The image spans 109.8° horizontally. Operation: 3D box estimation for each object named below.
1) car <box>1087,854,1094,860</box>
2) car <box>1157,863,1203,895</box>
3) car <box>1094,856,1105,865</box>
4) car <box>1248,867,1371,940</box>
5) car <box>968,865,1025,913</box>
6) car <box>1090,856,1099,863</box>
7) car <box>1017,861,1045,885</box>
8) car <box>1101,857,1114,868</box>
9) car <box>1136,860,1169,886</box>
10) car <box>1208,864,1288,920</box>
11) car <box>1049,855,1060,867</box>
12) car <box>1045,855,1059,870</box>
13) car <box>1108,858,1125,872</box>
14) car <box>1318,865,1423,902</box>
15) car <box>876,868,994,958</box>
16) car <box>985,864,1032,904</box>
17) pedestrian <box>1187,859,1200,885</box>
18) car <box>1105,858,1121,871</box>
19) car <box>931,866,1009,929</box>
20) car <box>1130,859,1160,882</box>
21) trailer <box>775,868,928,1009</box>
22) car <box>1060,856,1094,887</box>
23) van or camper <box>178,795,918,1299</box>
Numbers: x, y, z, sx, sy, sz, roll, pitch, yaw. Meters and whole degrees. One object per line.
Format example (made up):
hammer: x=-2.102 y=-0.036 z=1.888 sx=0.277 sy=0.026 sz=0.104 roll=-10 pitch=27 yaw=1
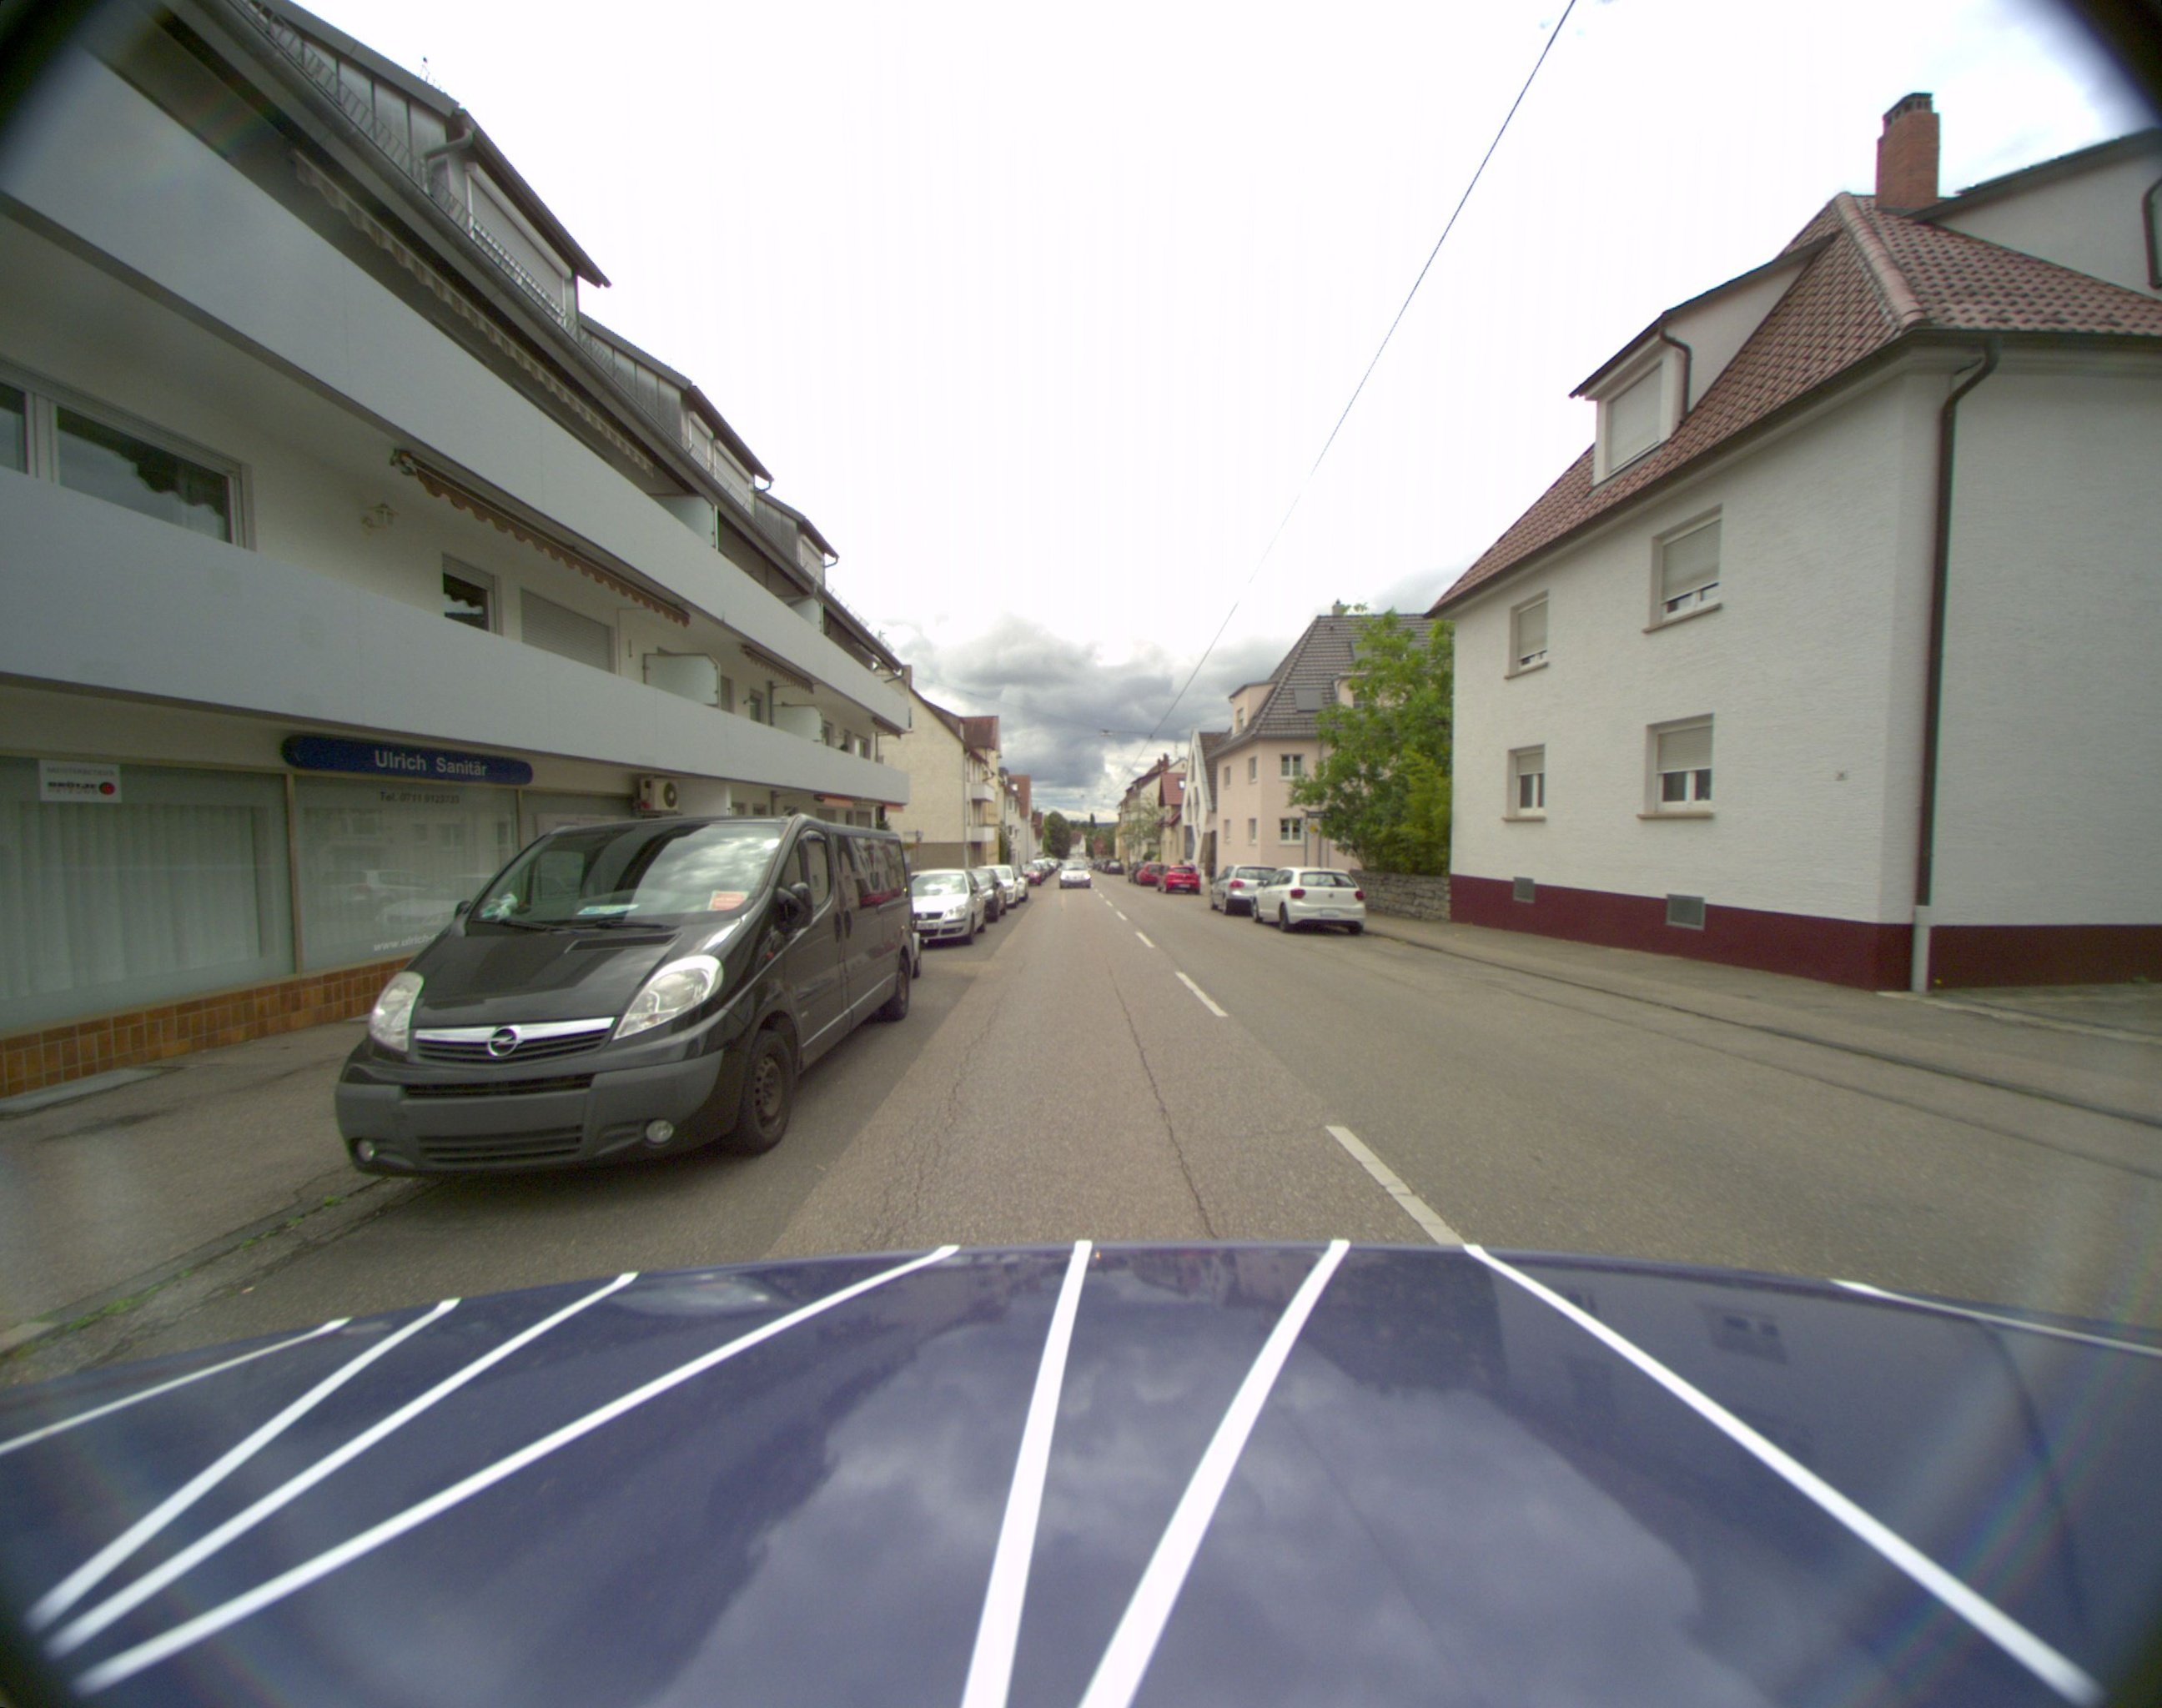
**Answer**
car: x=2.796 y=0.743 z=226.081 sx=1.705 sy=1.706 sz=3.737 roll=2 pitch=0 yaw=5
car: x=4.950 y=1.218 z=38.418 sx=1.706 sy=1.402 sz=3.735 roll=2 pitch=0 yaw=-1
car: x=3.313 y=1.164 z=133.551 sx=1.706 sy=1.524 sz=3.735 roll=2 pitch=0 yaw=-1
car: x=5.171 y=1.065 z=17.687 sx=1.654 sy=1.438 sz=3.811 roll=1 pitch=0 yaw=-1
car: x=-2.896 y=1.155 z=26.510 sx=1.613 sy=1.446 sz=3.313 roll=-2 pitch=0 yaw=-1
car: x=2.902 y=1.253 z=166.834 sx=1.706 sy=1.524 sz=3.735 roll=2 pitch=0 yaw=-1
car: x=-3.239 y=1.209 z=50.129 sx=1.613 sy=1.446 sz=3.859 roll=-2 pitch=0 yaw=-1
car: x=3.894 y=1.206 z=112.507 sx=1.706 sy=1.524 sz=3.735 roll=2 pitch=0 yaw=-1
car: x=4.643 y=1.206 z=49.781 sx=1.706 sy=1.524 sz=3.735 roll=2 pitch=0 yaw=-1
car: x=4.880 y=1.064 z=22.689 sx=1.653 sy=1.438 sz=3.774 roll=1 pitch=0 yaw=2
car: x=-4.073 y=1.025 z=117.677 sx=1.613 sy=1.789 sz=3.859 roll=-2 pitch=0 yaw=-1
car: x=-3.633 y=1.059 z=96.162 sx=1.613 sy=1.789 sz=3.859 roll=-2 pitch=0 yaw=-1
car: x=4.065 y=1.252 z=86.969 sx=1.706 sy=1.524 sz=3.735 roll=2 pitch=0 yaw=-1
car: x=12.032 y=1.212 z=31.749 sx=3.732 sy=1.402 sz=1.708 roll=-1 pitch=0 yaw=4
car: x=-2.876 y=1.104 z=15.844 sx=1.613 sy=1.446 sz=4.333 roll=-2 pitch=0 yaw=-1
car: x=-2.859 y=1.157 z=30.664 sx=1.585 sy=1.397 sz=3.597 roll=-2 pitch=0 yaw=-1
pedestrian: x=6.738 y=1.081 z=45.545 sx=0.583 sy=1.524 sz=0.600 roll=-2 pitch=1 yaw=-1
car: x=3.893 y=1.245 z=92.666 sx=1.706 sy=1.524 sz=3.735 roll=2 pitch=0 yaw=-1
car: x=-2.964 y=1.120 z=21.051 sx=1.613 sy=1.446 sz=3.859 roll=-2 pitch=0 yaw=-1
car: x=4.566 y=1.159 z=54.780 sx=1.706 sy=1.524 sz=3.735 roll=2 pitch=0 yaw=-1
trailer: x=-2.973 y=1.007 z=10.342 sx=1.426 sy=1.558 sz=2.834 roll=-2 pitch=0 yaw=-6
car: x=-0.180 y=0.934 z=42.944 sx=1.721 sy=1.586 sz=4.000 roll=-2 pitch=0 yaw=2
van or camper: x=-2.764 y=0.810 z=5.722 sx=1.999 sy=2.002 sz=5.063 roll=-3 pitch=0 yaw=-2
